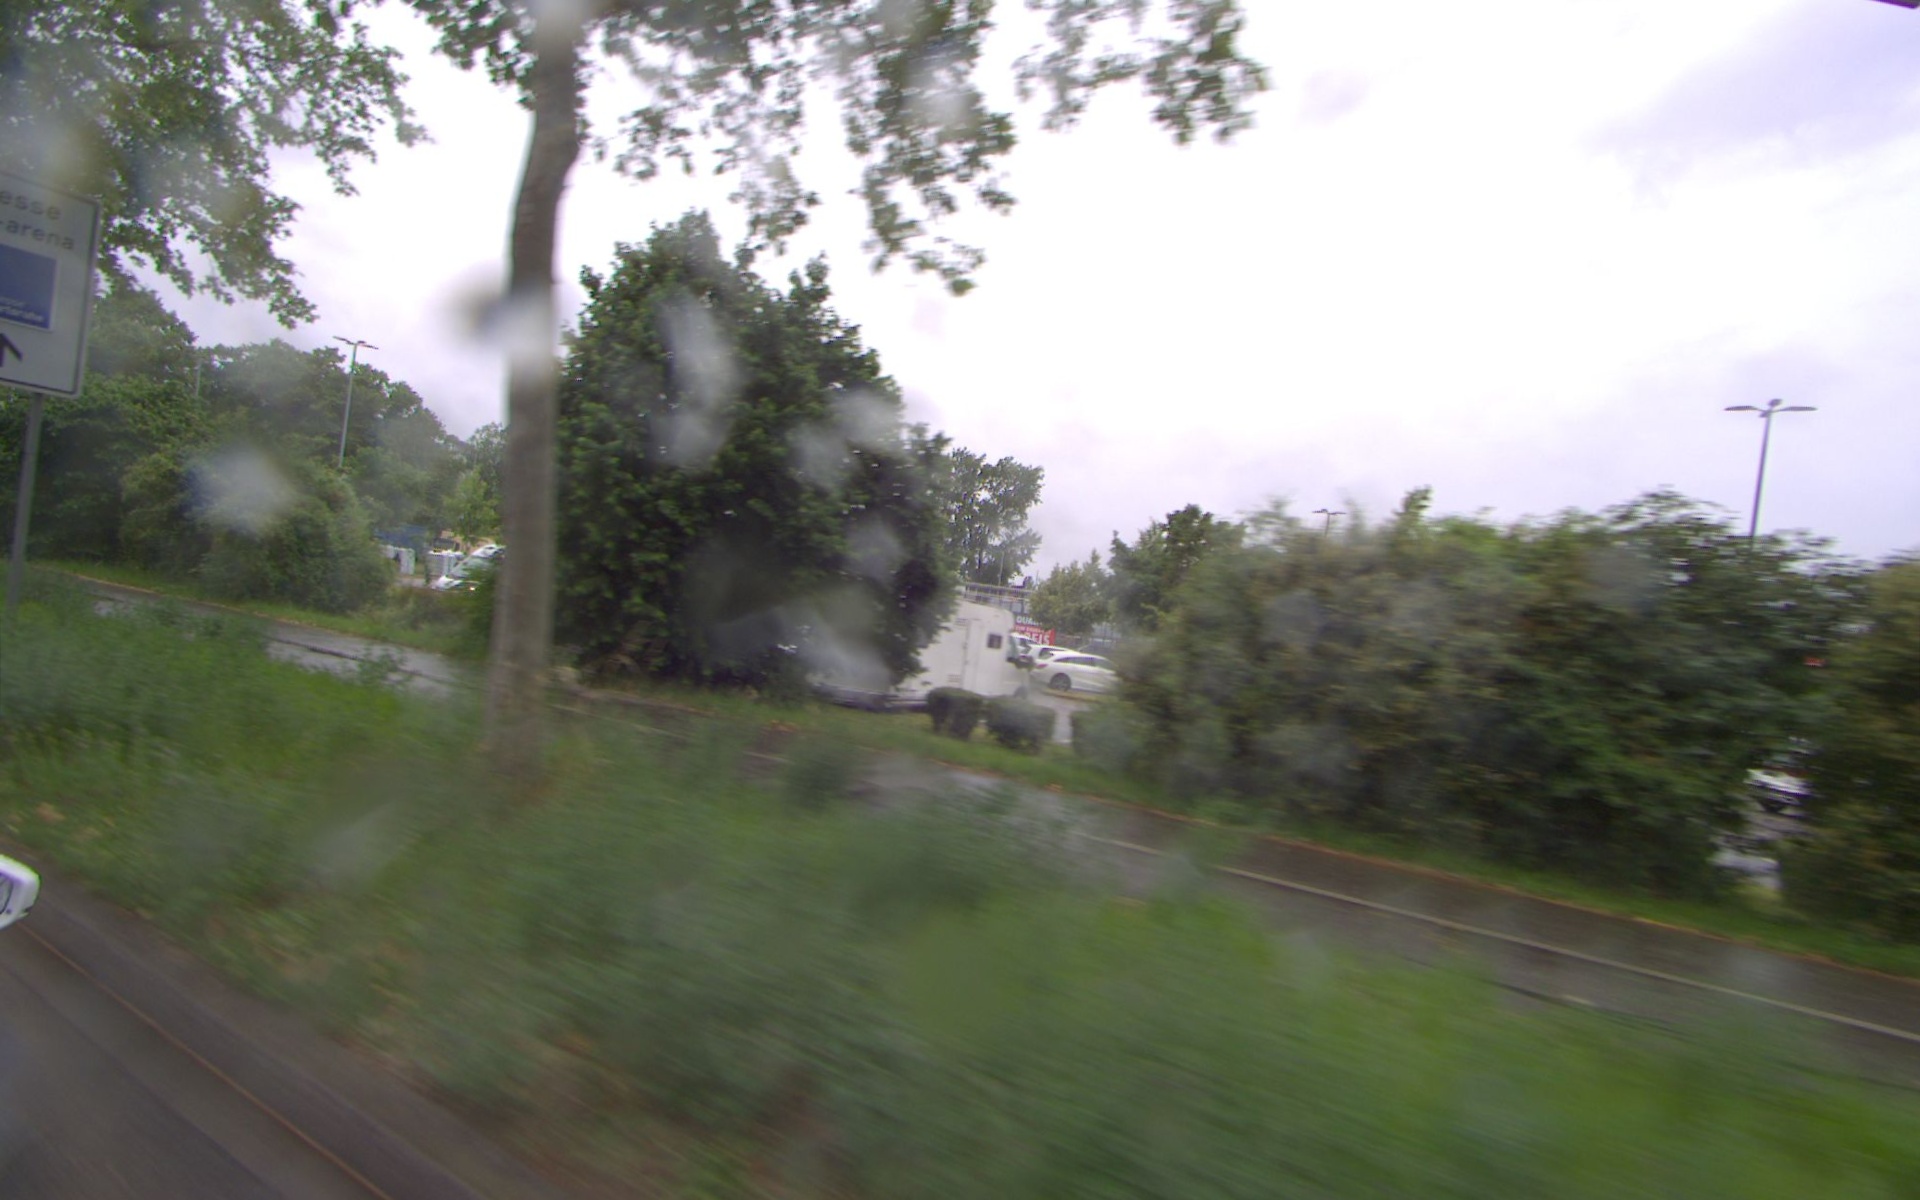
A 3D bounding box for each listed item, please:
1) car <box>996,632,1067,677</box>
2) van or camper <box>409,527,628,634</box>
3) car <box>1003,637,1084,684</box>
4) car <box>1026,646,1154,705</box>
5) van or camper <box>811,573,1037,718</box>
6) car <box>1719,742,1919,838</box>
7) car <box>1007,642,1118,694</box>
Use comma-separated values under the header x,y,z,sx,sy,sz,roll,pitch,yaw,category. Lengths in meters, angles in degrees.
x,y,z,sx,sy,sz,roll,pitch,yaw,category
4.107,3.135,58.090,3.720,2.036,1.900,8,-2,-3,car
-14.022,-0.512,32.522,1.966,2.572,6.379,6,-3,30,van or camper
4.532,3.291,55.221,4.001,2.036,1.900,8,-2,-3,car
4.474,2.601,34.946,4.001,1.496,1.786,8,-2,-3,car
-0.585,1.149,22.413,1.967,2.617,5.736,6,-3,31,van or camper
22.045,4.805,25.420,4.262,1.653,1.939,8,-2,-5,car
4.020,2.668,39.826,4.001,1.496,1.786,8,-2,-3,car
